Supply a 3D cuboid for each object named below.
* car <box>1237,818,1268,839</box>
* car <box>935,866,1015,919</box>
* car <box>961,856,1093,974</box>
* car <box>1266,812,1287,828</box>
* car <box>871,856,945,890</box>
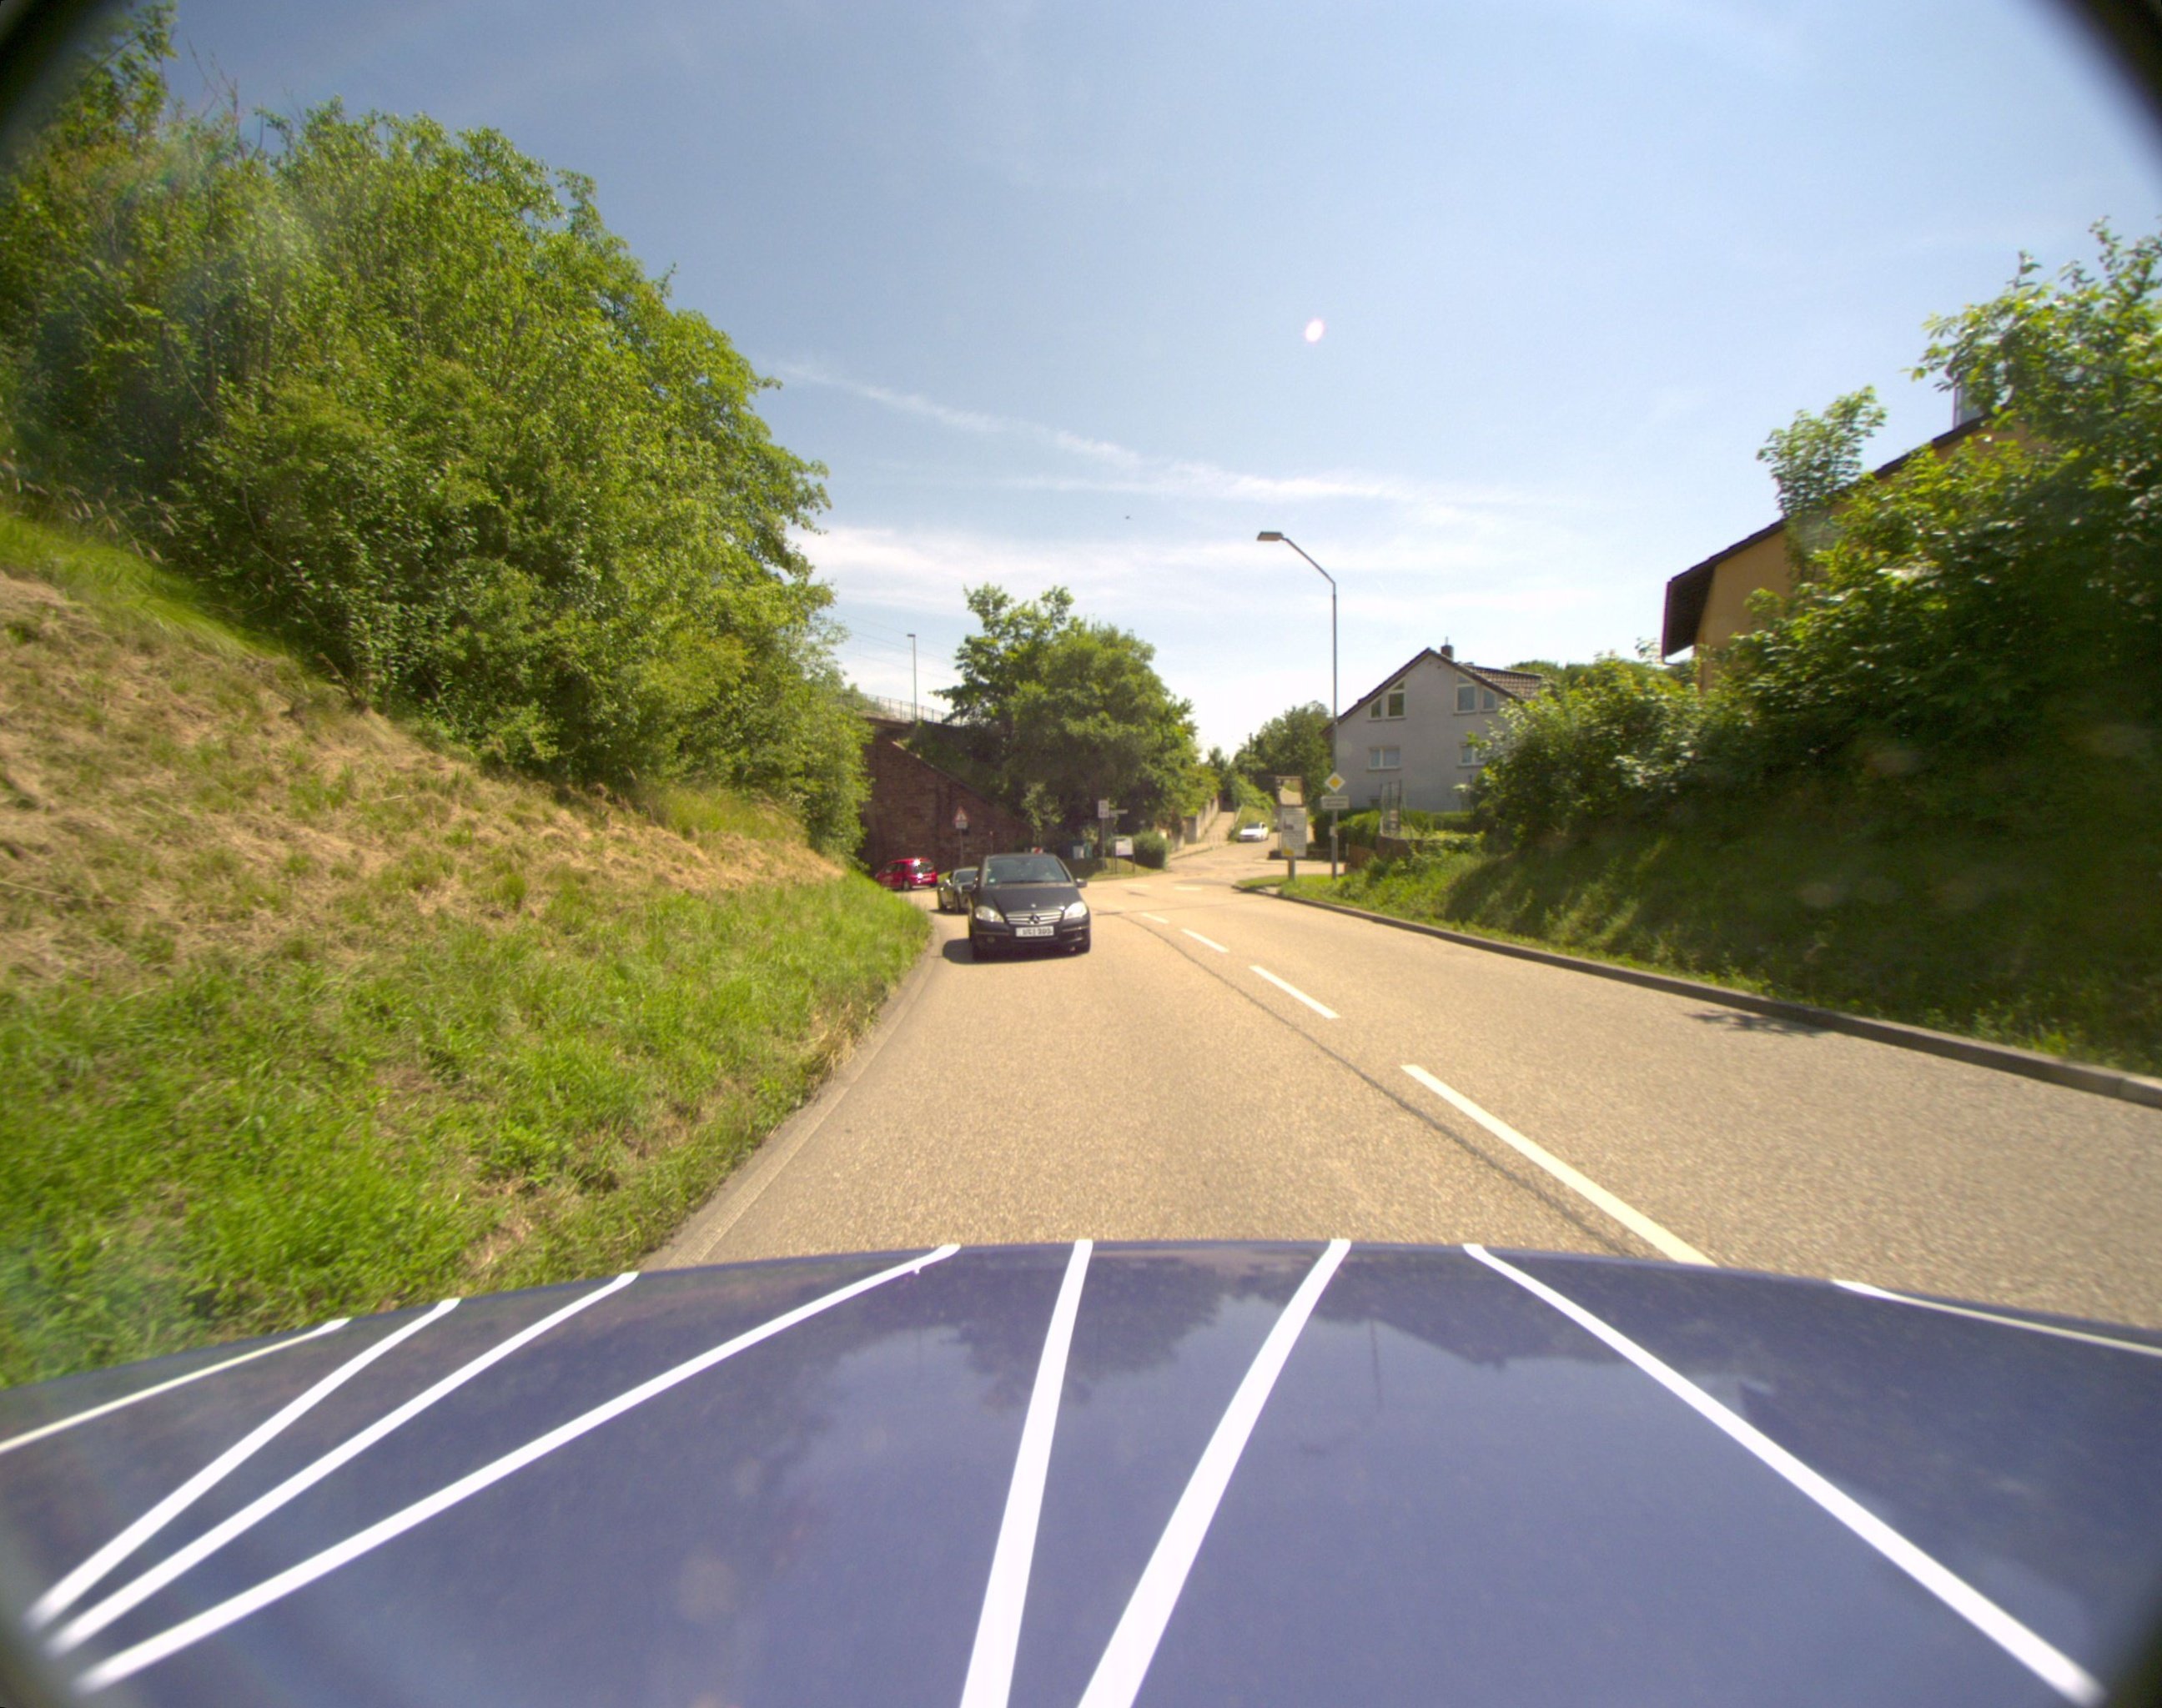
[{"bbox_3d":[14.408,-2.177,63.837,1.996,1.499,4.003,-2,4,20],"label":"car"},{"bbox_3d":[-3.156,1.052,22.081,1.650,1.314,3.433,-4,1,-18],"label":"car"},{"bbox_3d":[-1.034,0.860,12.606,1.797,1.570,3.796,-3,0,-9],"label":"car"},{"bbox_3d":[20.329,-3.572,78.980,1.747,1.382,4.002,-2,5,19],"label":"car"},{"bbox_3d":[-8.488,0.941,37.171,3.626,1.450,1.664,-2,3,42],"label":"car"}]
